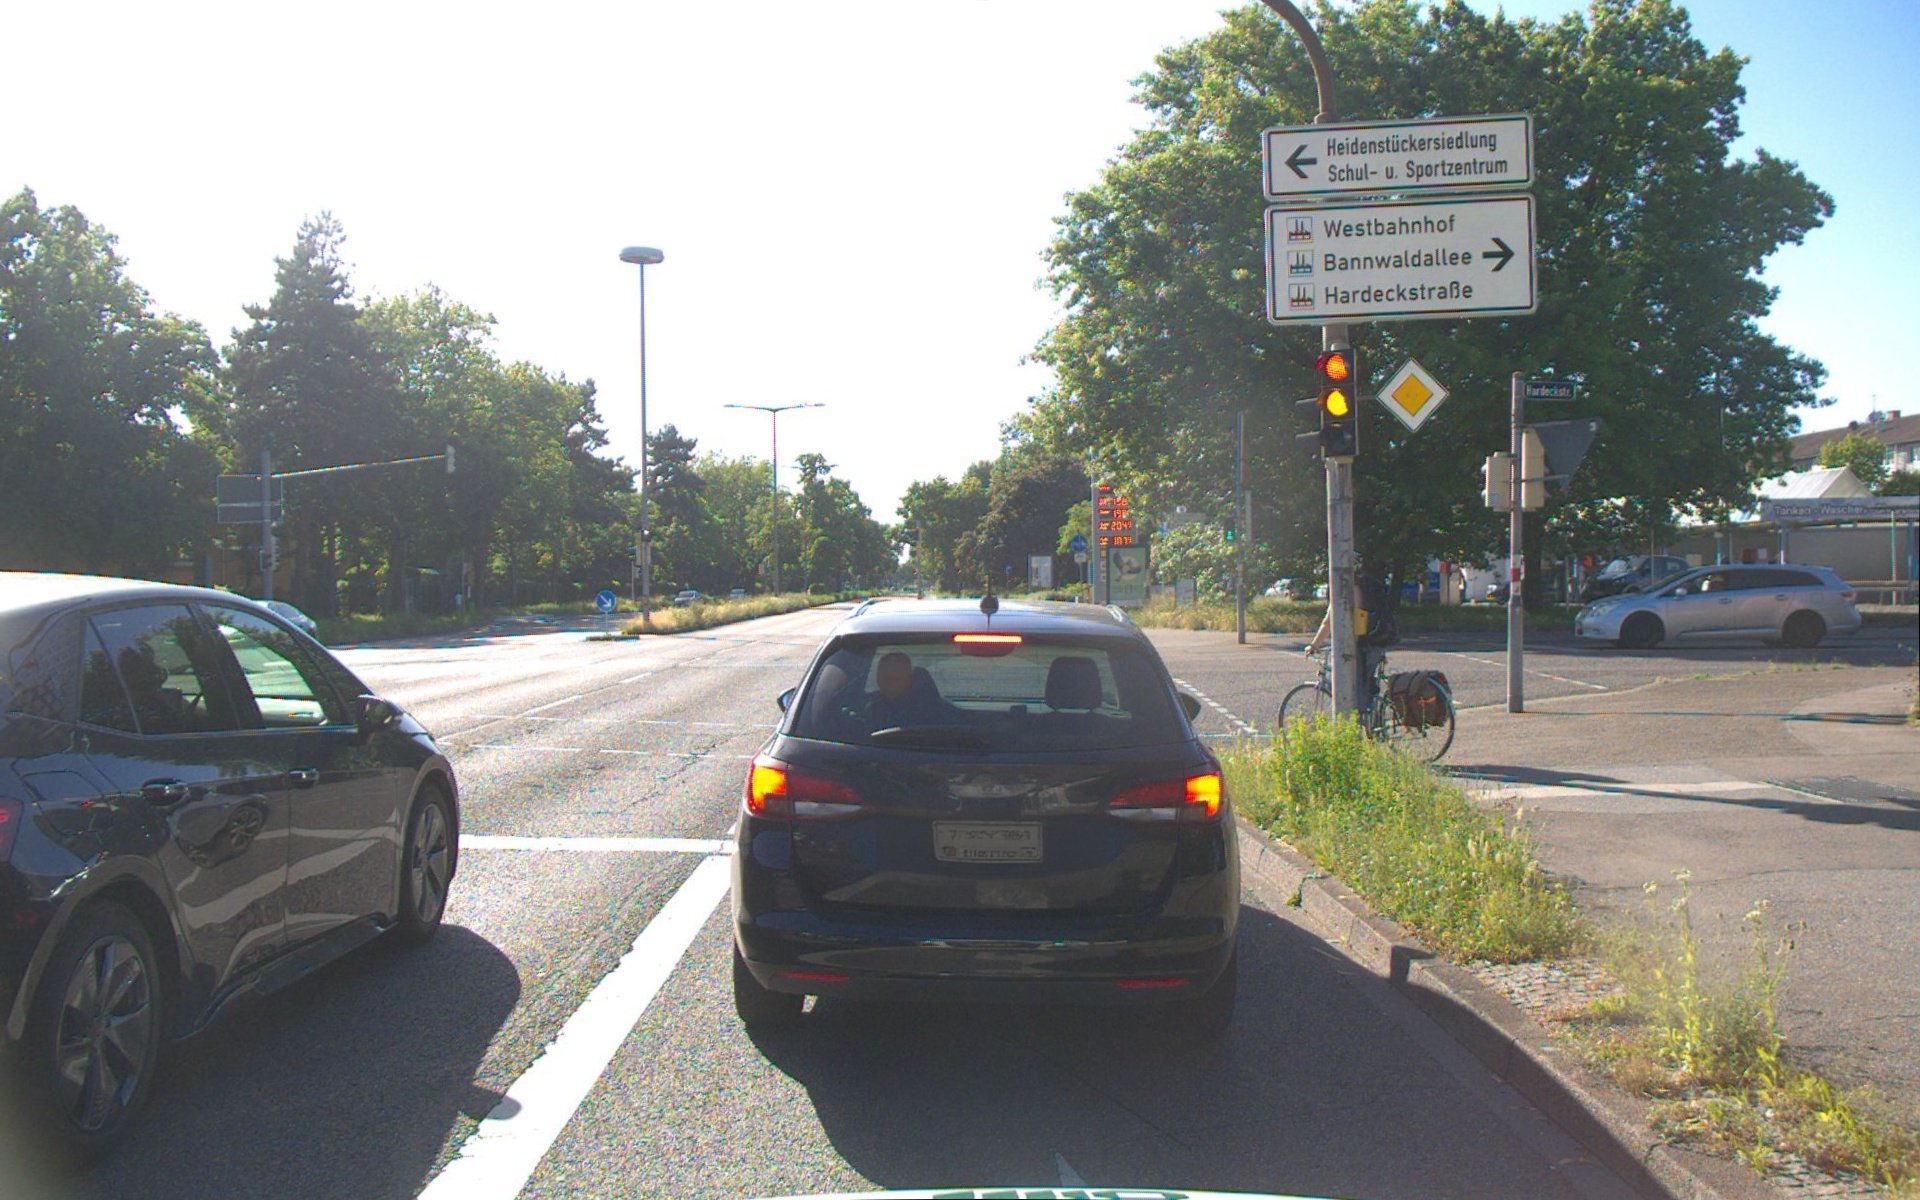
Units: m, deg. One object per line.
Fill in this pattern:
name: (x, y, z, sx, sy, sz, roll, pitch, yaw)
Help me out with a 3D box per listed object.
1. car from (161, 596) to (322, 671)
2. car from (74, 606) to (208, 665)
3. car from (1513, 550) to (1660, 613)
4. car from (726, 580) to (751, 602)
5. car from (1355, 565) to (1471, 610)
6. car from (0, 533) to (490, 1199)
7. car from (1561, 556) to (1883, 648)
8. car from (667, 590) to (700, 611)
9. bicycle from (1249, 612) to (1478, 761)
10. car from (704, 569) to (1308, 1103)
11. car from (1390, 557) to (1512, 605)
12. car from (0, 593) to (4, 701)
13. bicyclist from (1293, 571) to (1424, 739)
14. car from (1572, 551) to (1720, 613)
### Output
car: (-15.691, 0.696, 36.355, 1.740, 1.488, 4.164, -1, 0, -1)
car: (-19.142, 0.797, 38.819, 1.361, 1.256, 3.635, -1, 0, -1)
car: (18.945, -0.561, 50.008, 3.935, 1.780, 1.985, -2, 1, -24)
car: (-21.935, -0.878, 163.747, 1.953, 2.049, 3.999, -2, 0, -1)
car: (16.437, -0.461, 60.064, 3.837, 1.544, 1.732, -2, 0, -24)
car: (-2.995, 0.655, 5.609, 1.650, 1.608, 4.206, 0, 0, -1)
car: (13.543, 0.031, 29.707, 4.897, 1.512, 2.002, -1, 0, 11)
car: (-21.655, -0.004, 129.447, 1.953, 1.556, 3.999, -2, 0, -1)
bicycle: (3.230, 0.698, 13.375, 0.533, 1.117, 1.748, -2, -2, -44)
car: (0.106, 0.681, 6.841, 1.721, 1.521, 4.206, 0, 0, -1)
car: (16.914, -0.649, 56.989, 3.837, 1.544, 1.732, -2, 0, -24)
car: (-15.420, 0.752, 22.673, 1.953, 1.629, 4.615, -1, 0, -1)
bicyclist: (3.220, 0.443, 13.375, 0.534, 1.299, 0.816, -2, -2, -44)
car: (19.993, -0.532, 48.200, 3.934, 1.709, 1.732, -2, 0, -24)
